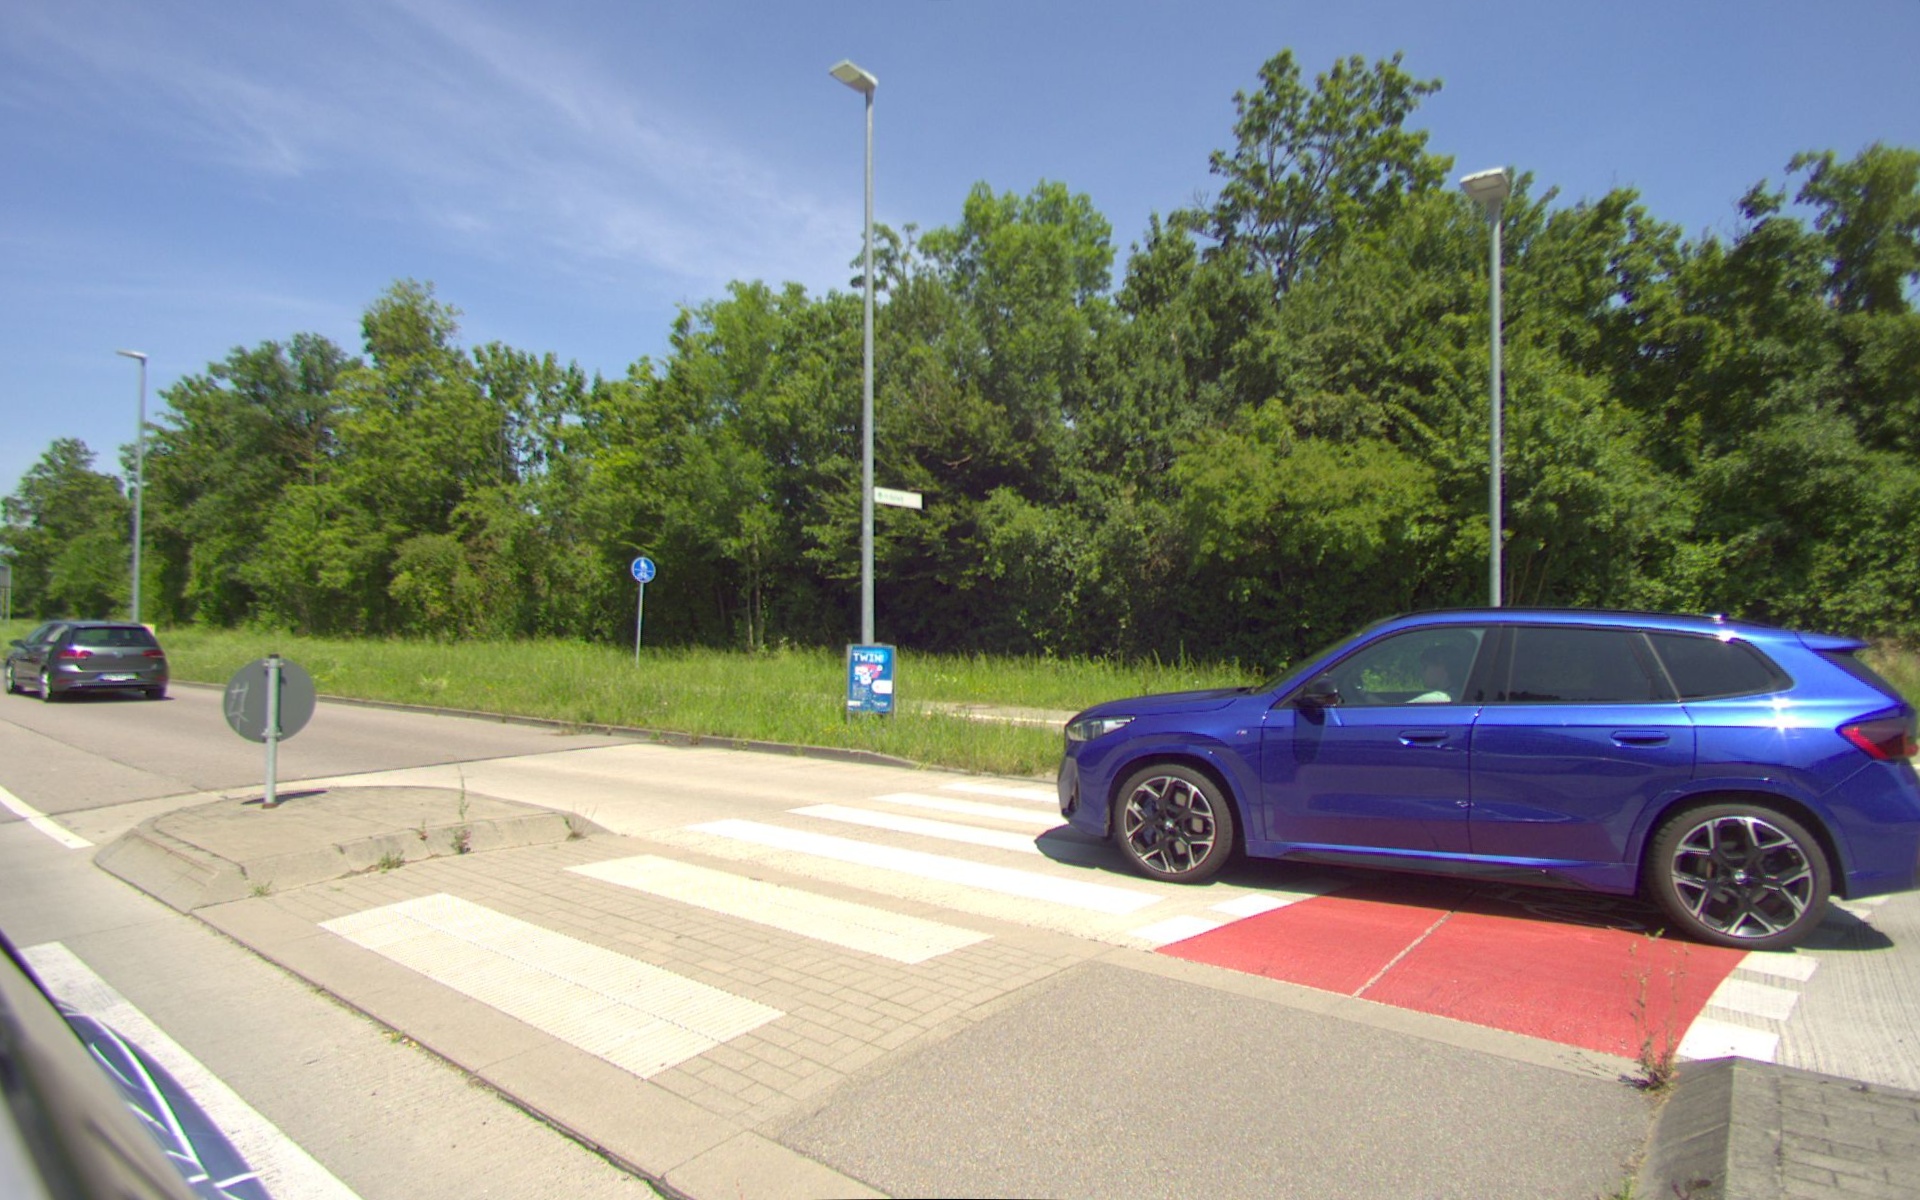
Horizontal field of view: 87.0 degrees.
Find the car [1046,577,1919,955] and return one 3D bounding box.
[{"bbox_3d":[2.859,0.799,5.959,4.295,1.608,1.984,-2,-3,24],"label":"car"}]

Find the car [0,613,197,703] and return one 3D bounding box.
[{"bbox_3d":[-16.220,1.055,18.859,4.279,1.490,1.976,-1,-4,35],"label":"car"}]
